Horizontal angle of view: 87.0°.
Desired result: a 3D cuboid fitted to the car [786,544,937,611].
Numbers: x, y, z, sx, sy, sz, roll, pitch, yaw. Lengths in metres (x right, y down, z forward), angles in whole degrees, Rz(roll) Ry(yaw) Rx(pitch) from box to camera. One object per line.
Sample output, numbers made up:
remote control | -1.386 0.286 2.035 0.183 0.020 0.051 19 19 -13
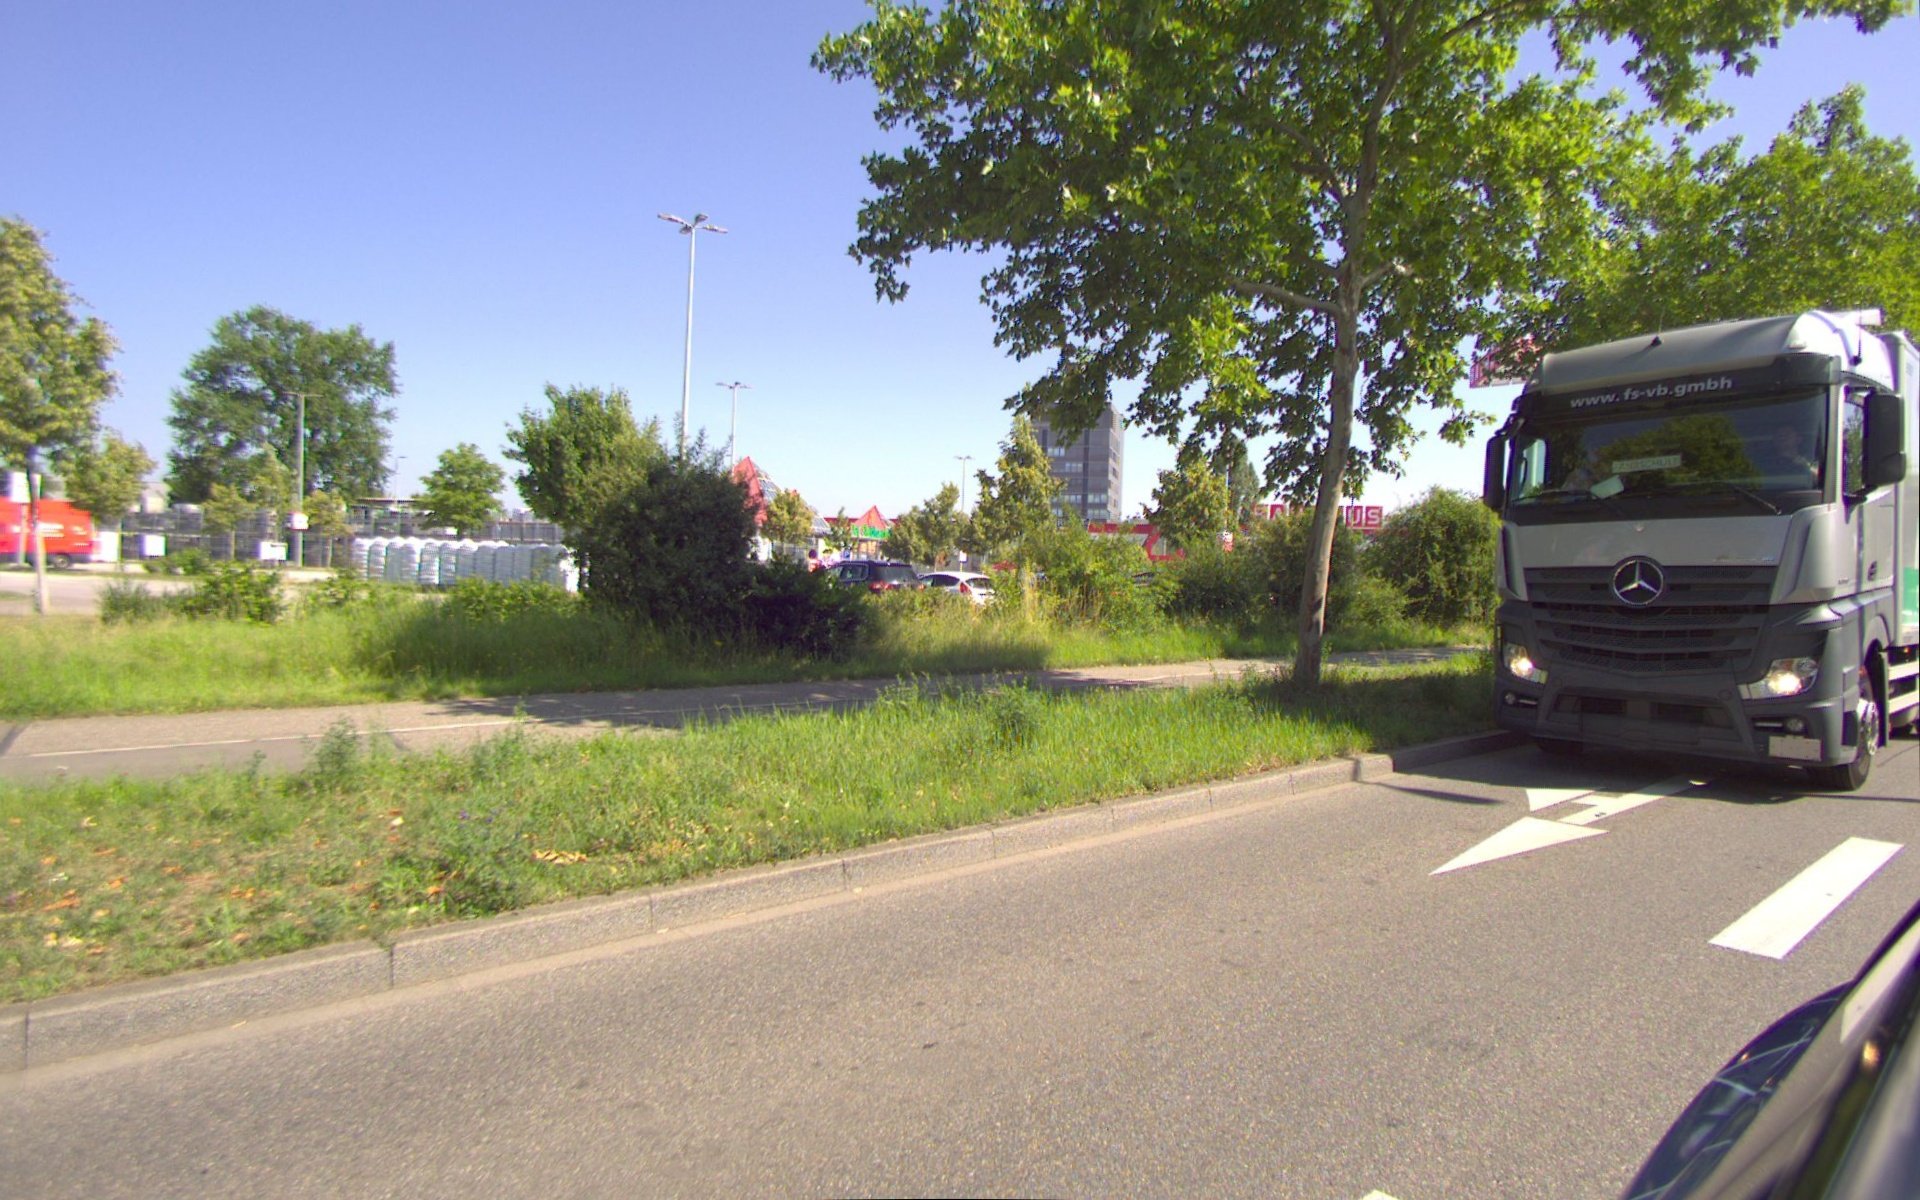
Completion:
car | -2.644 -0.560 26.488 1.850 1.611 4.075 -1 0 -43

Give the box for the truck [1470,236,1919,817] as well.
truck | 8.768 -0.570 10.610 8.564 3.938 2.737 -1 2 -38

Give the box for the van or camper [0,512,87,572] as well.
van or camper | -45.412 -2.727 47.199 1.971 2.739 7.253 0 0 15

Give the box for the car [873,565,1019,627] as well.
car | -0.452 -0.126 28.438 1.850 1.611 4.075 -1 0 -43

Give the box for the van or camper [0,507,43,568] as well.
van or camper | -48.843 -3.110 48.612 1.971 2.979 7.253 0 0 15

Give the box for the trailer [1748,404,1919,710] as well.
trailer | 15.059 -0.604 15.711 7.596 3.925 2.743 -1 2 -39
